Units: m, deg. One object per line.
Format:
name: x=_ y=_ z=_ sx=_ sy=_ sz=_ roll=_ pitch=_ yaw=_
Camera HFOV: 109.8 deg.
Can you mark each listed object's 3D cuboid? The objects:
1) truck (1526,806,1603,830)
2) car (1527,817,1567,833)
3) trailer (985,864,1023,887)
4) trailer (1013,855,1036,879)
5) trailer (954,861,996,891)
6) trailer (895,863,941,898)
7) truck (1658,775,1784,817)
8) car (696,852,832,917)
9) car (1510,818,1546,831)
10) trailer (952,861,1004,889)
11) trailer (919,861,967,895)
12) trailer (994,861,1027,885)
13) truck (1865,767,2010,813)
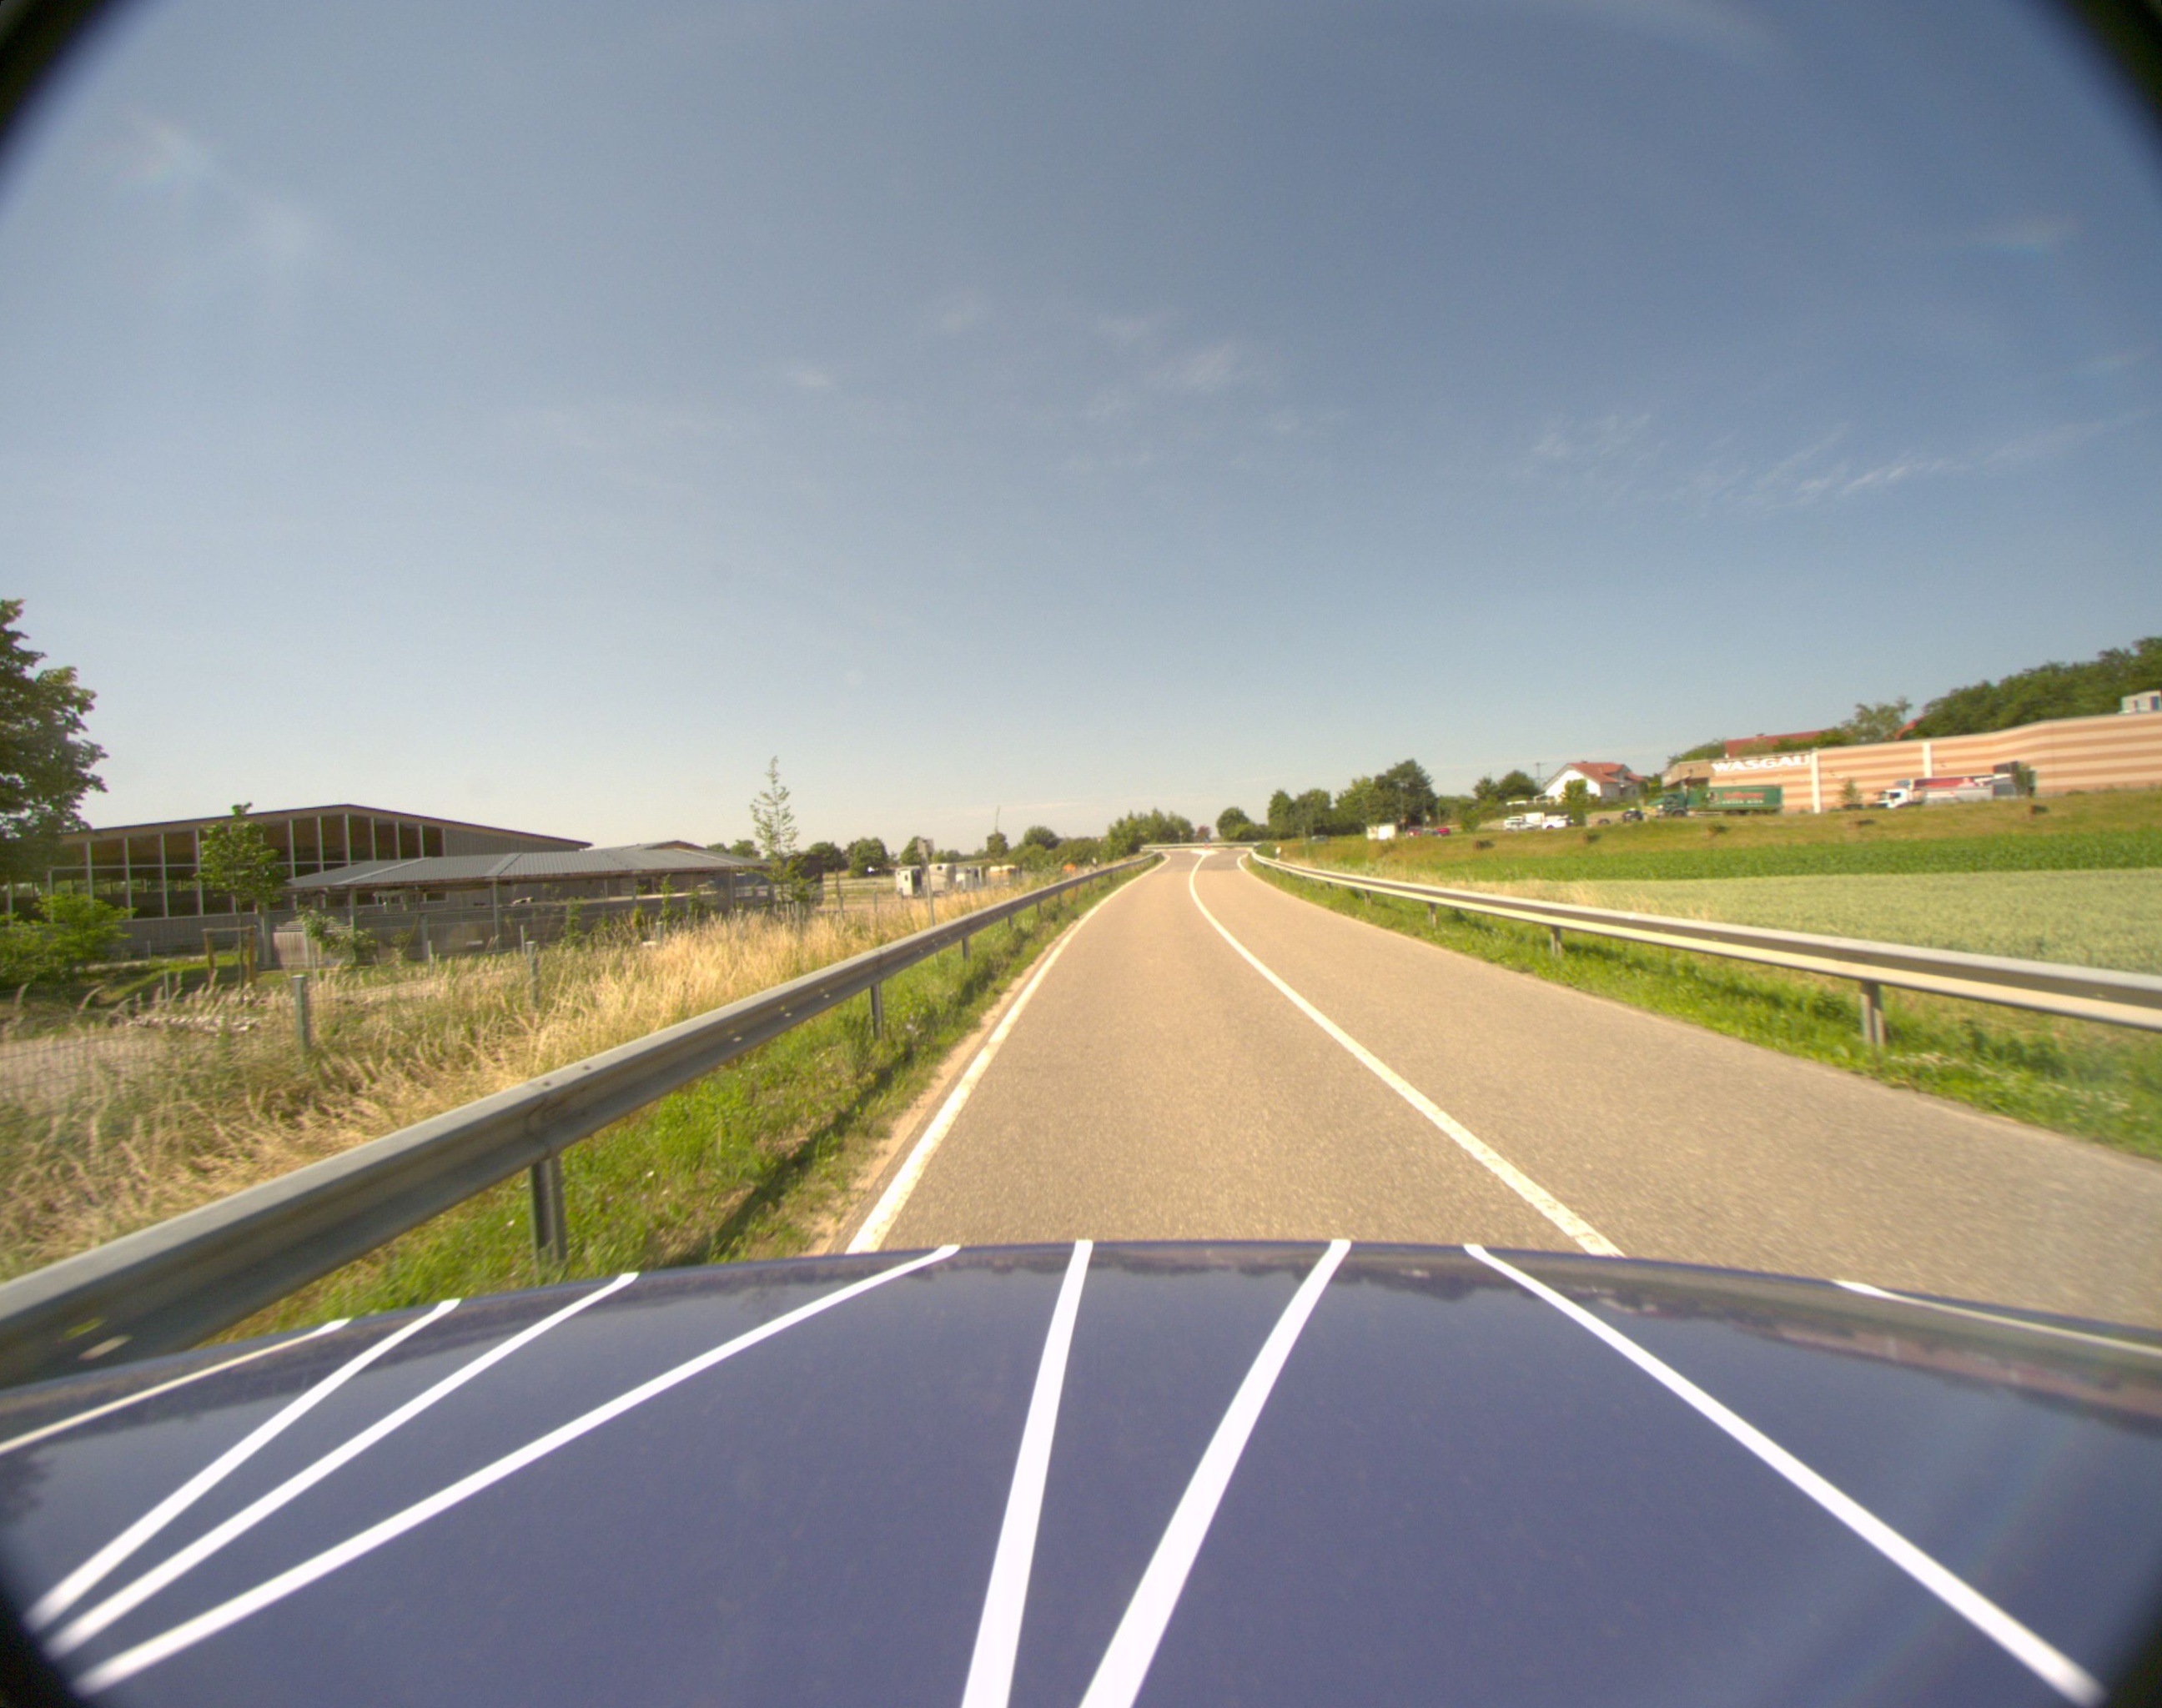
truck: x=82.557 y=-6.060 z=129.998 sx=10.700 sy=3.173 sz=2.449 roll=-4 pitch=2 yaw=18
car: x=61.824 y=-3.867 z=100.833 sx=4.322 sy=1.694 sz=2.003 roll=-4 pitch=2 yaw=32
trailer: x=-9.427 y=2.623 z=92.745 sx=4.084 sy=2.376 sz=2.010 roll=-6 pitch=-1 yaw=38
trailer: x=-7.686 y=1.777 z=103.026 sx=2.000 sy=2.788 sz=3.375 roll=-10 pitch=0 yaw=-16
trailer: x=-9.861 y=2.080 z=70.277 sx=1.829 sy=2.613 sz=4.542 roll=0 pitch=-3 yaw=-37
trailer: x=-13.727 y=2.156 z=63.840 sx=2.178 sy=2.655 sz=4.469 roll=-3 pitch=2 yaw=-34
truck: x=67.406 y=-6.098 z=80.370 sx=9.916 sy=3.458 sz=2.883 roll=-4 pitch=2 yaw=37
car: x=-20.488 y=2.000 z=48.911 sx=8.975 sy=3.631 sz=2.784 roll=-4 pitch=0 yaw=28
car: x=64.184 y=-4.235 z=109.084 sx=4.322 sy=1.589 sz=2.003 roll=-4 pitch=2 yaw=31
trailer: x=-11.081 y=2.295 z=81.448 sx=5.175 sy=2.672 sz=2.212 roll=-4 pitch=0 yaw=31
trailer: x=-12.320 y=2.120 z=67.697 sx=2.238 sy=2.847 sz=5.033 roll=-3 pitch=0 yaw=-34
trailer: x=-8.919 y=2.444 z=96.552 sx=3.412 sy=2.789 sz=2.168 roll=-4 pitch=1 yaw=29
truck: x=83.216 y=-6.201 z=74.137 sx=8.860 sy=3.544 sz=2.883 roll=-4 pitch=2 yaw=33
